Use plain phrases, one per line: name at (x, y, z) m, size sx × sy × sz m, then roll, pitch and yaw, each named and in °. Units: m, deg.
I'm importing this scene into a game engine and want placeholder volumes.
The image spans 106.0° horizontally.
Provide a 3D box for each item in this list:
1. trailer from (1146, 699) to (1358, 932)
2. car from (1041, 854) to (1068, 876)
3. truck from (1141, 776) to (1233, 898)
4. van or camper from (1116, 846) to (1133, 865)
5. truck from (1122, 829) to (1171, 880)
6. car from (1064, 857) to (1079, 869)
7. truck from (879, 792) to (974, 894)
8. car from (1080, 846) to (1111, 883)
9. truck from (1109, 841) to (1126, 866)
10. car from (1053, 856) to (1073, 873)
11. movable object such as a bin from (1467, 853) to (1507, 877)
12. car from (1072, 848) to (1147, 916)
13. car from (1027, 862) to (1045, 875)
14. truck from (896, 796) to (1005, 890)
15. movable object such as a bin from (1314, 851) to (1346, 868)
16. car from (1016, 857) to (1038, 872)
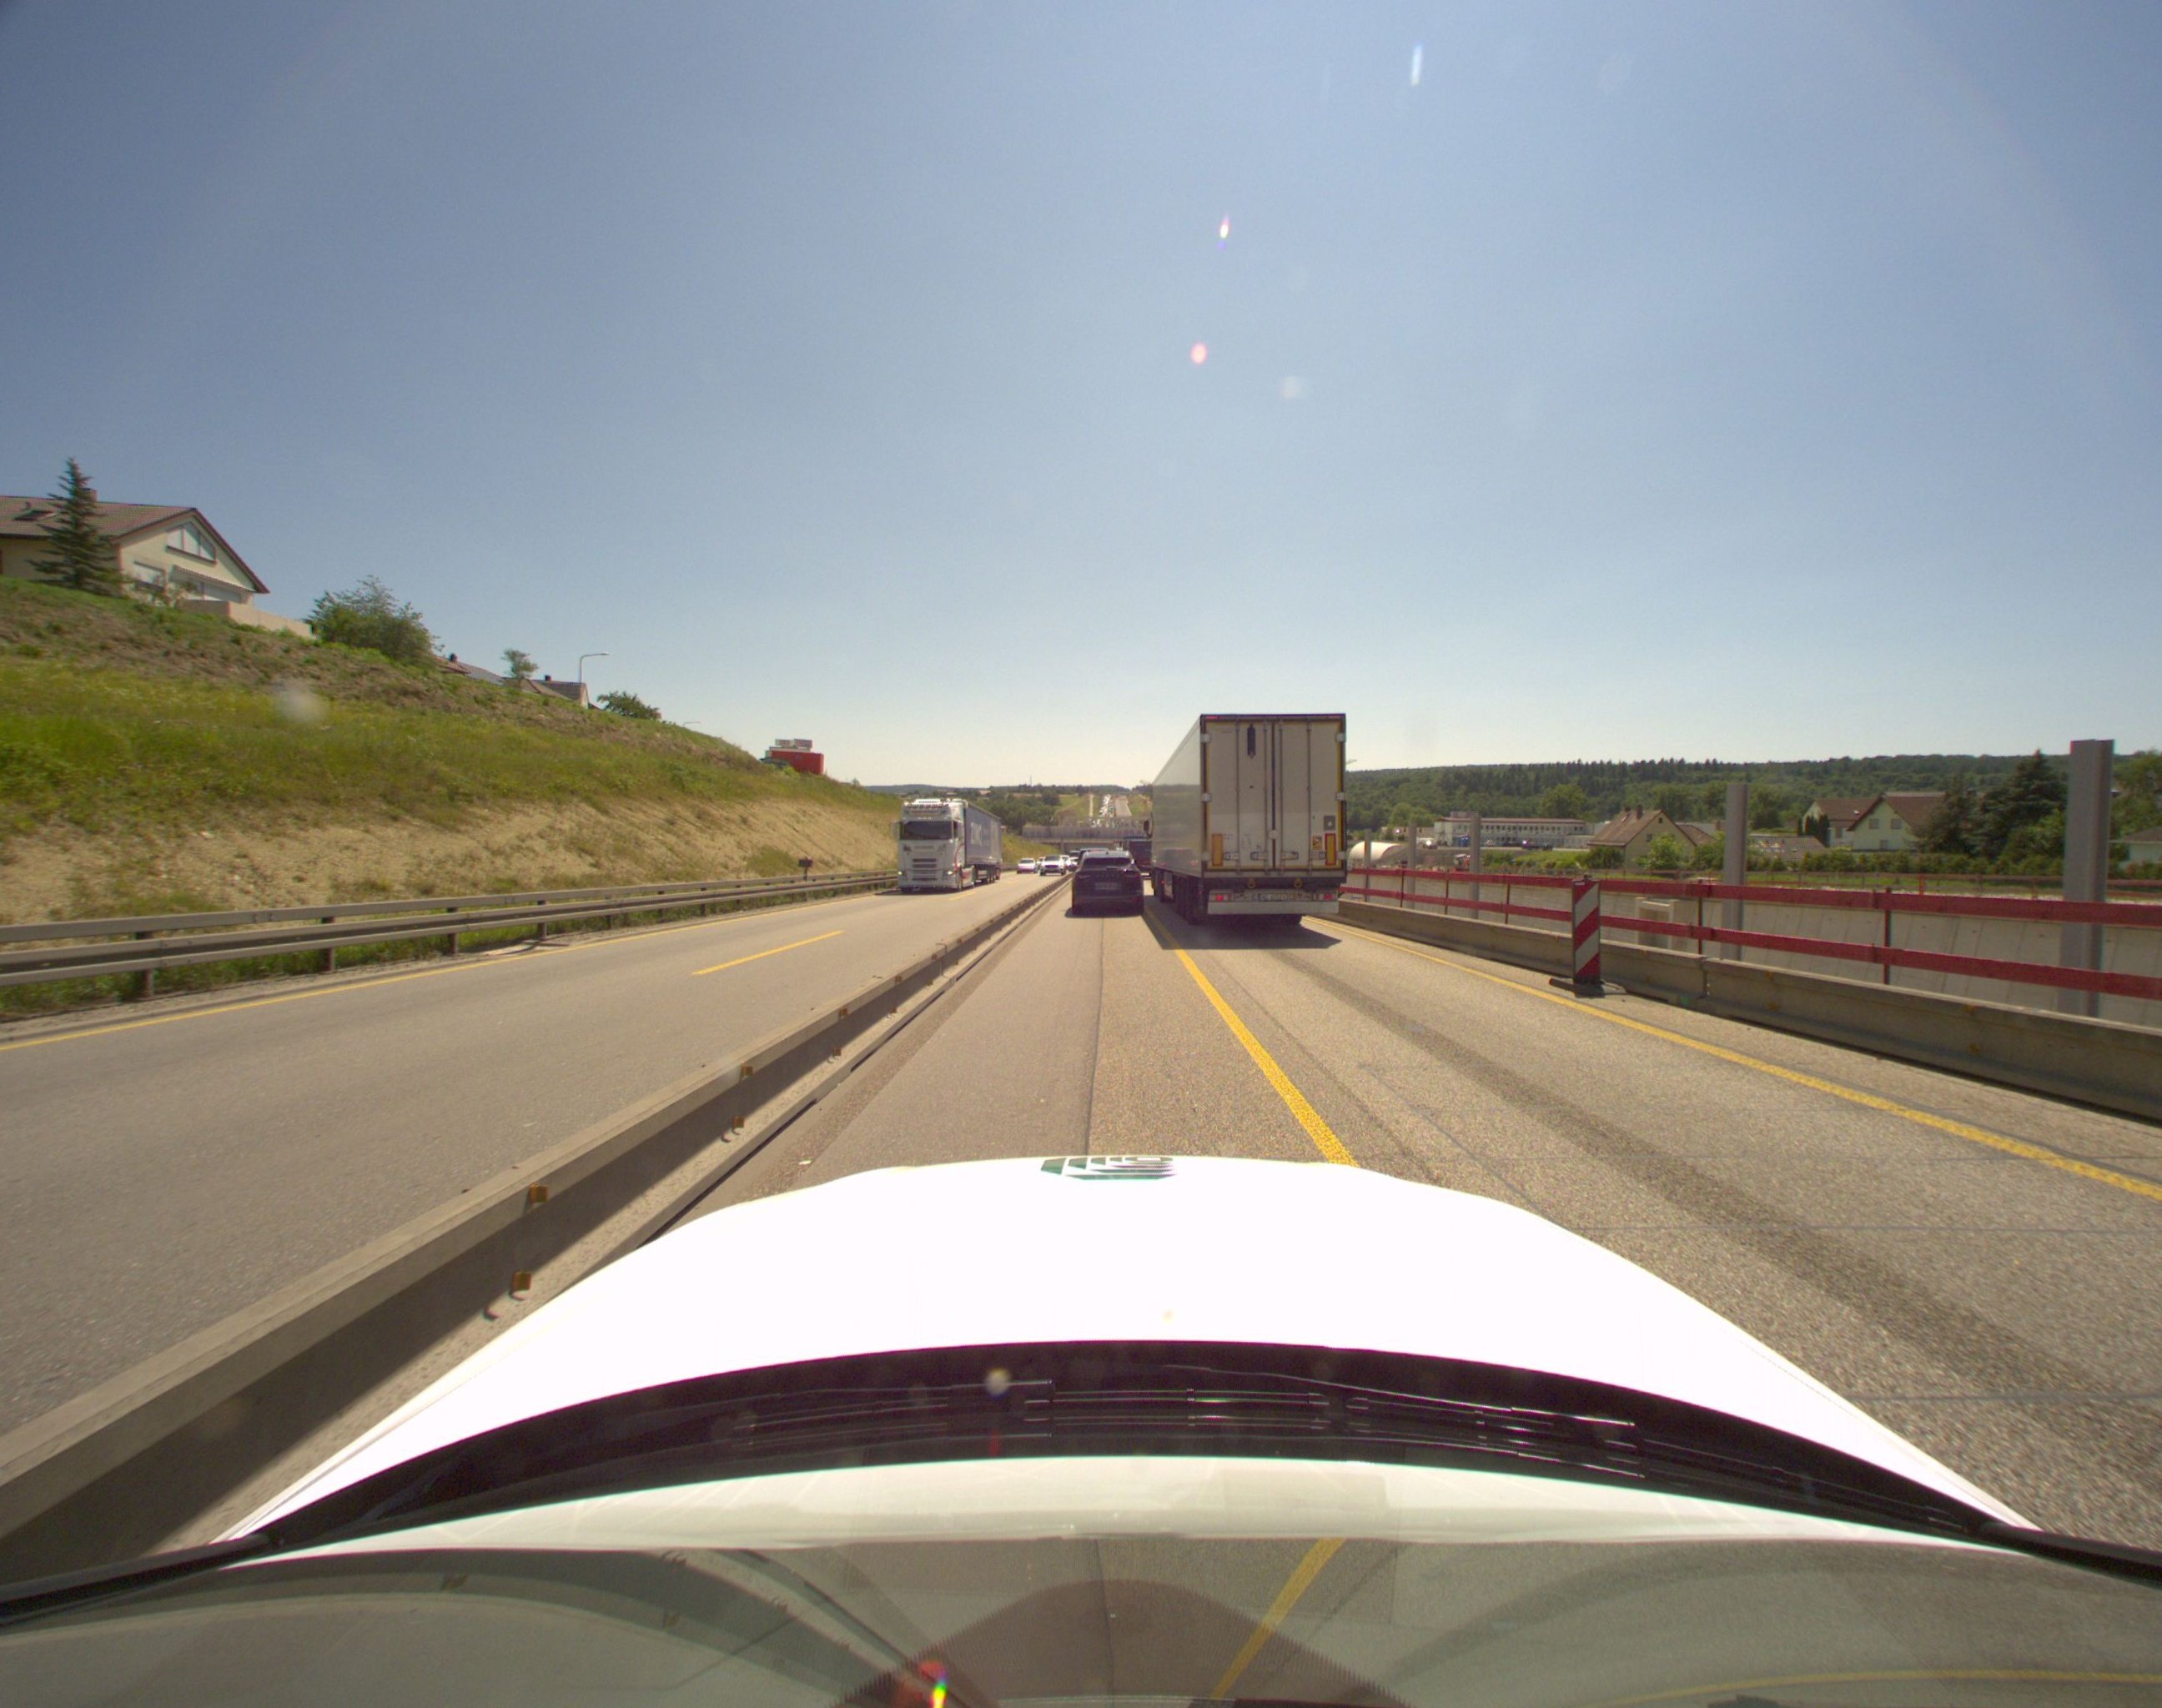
trailer at (3.571, -0.615, 21.356) m, size 2.791 × 4.058 × 14.118 m, roll -1°, pitch -1°, yaw 1°
car at (-2.055, 0.873, 64.949) m, size 1.805 × 1.638 × 4.364 m, roll -1°, pitch 0°, yaw 2°
truck at (3.723, -0.555, 29.739) m, size 2.767 × 4.058 × 4.905 m, roll -1°, pitch -1°, yaw 1°
van or camper at (5.198, 0.203, 98.113) m, size 1.986 × 2.244 × 4.002 m, roll 1°, pitch 0°, yaw 2°
truck at (4.351, 0.095, 56.561) m, size 2.803 × 3.135 × 12.843 m, roll -1°, pitch 0°, yaw 2°
car at (-1.267, 1.162, 106.051) m, size 1.800 × 1.477 × 4.280 m, roll 0°, pitch 0°, yaw 1°
truck at (-6.639, -0.449, 35.611) m, size 3.228 × 4.160 × 4.248 m, roll -1°, pitch 0°, yaw 1°
car at (0.767, 0.526, 42.240) m, size 1.469 × 1.795 × 3.300 m, roll -1°, pitch 1°, yaw 3°
truck at (5.896, -0.046, 133.043) m, size 2.509 × 3.959 × 7.601 m, roll 1°, pitch 0°, yaw 1°
car at (-1.864, 1.090, 83.675) m, size 1.884 × 1.708 × 4.561 m, roll 0°, pitch 0°, yaw 1°
movable object such as a bin at (39.487, 1.080, 79.274) m, size 1.986 × 2.239 × 4.154 m, roll 0°, pitch 0°, yaw 2°
car at (0.739, 0.664, 21.334) m, size 1.794 × 1.620 × 3.298 m, roll -1°, pitch 0°, yaw 1°
car at (-5.809, 1.912, 105.473) m, size 1.892 × 1.584 × 4.514 m, roll 0°, pitch 0°, yaw 1°
truck at (-6.487, -0.461, 43.357) m, size 3.232 × 4.160 × 13.981 m, roll -1°, pitch 0°, yaw 1°
movable object such as a bin at (43.014, 0.922, 141.051) m, size 2.876 × 2.909 × 9.484 m, roll 0°, pitch 0°, yaw 2°
car at (-4.941, 0.938, 74.732) m, size 1.696 × 1.378 × 3.967 m, roll 0°, pitch 0°, yaw 1°
